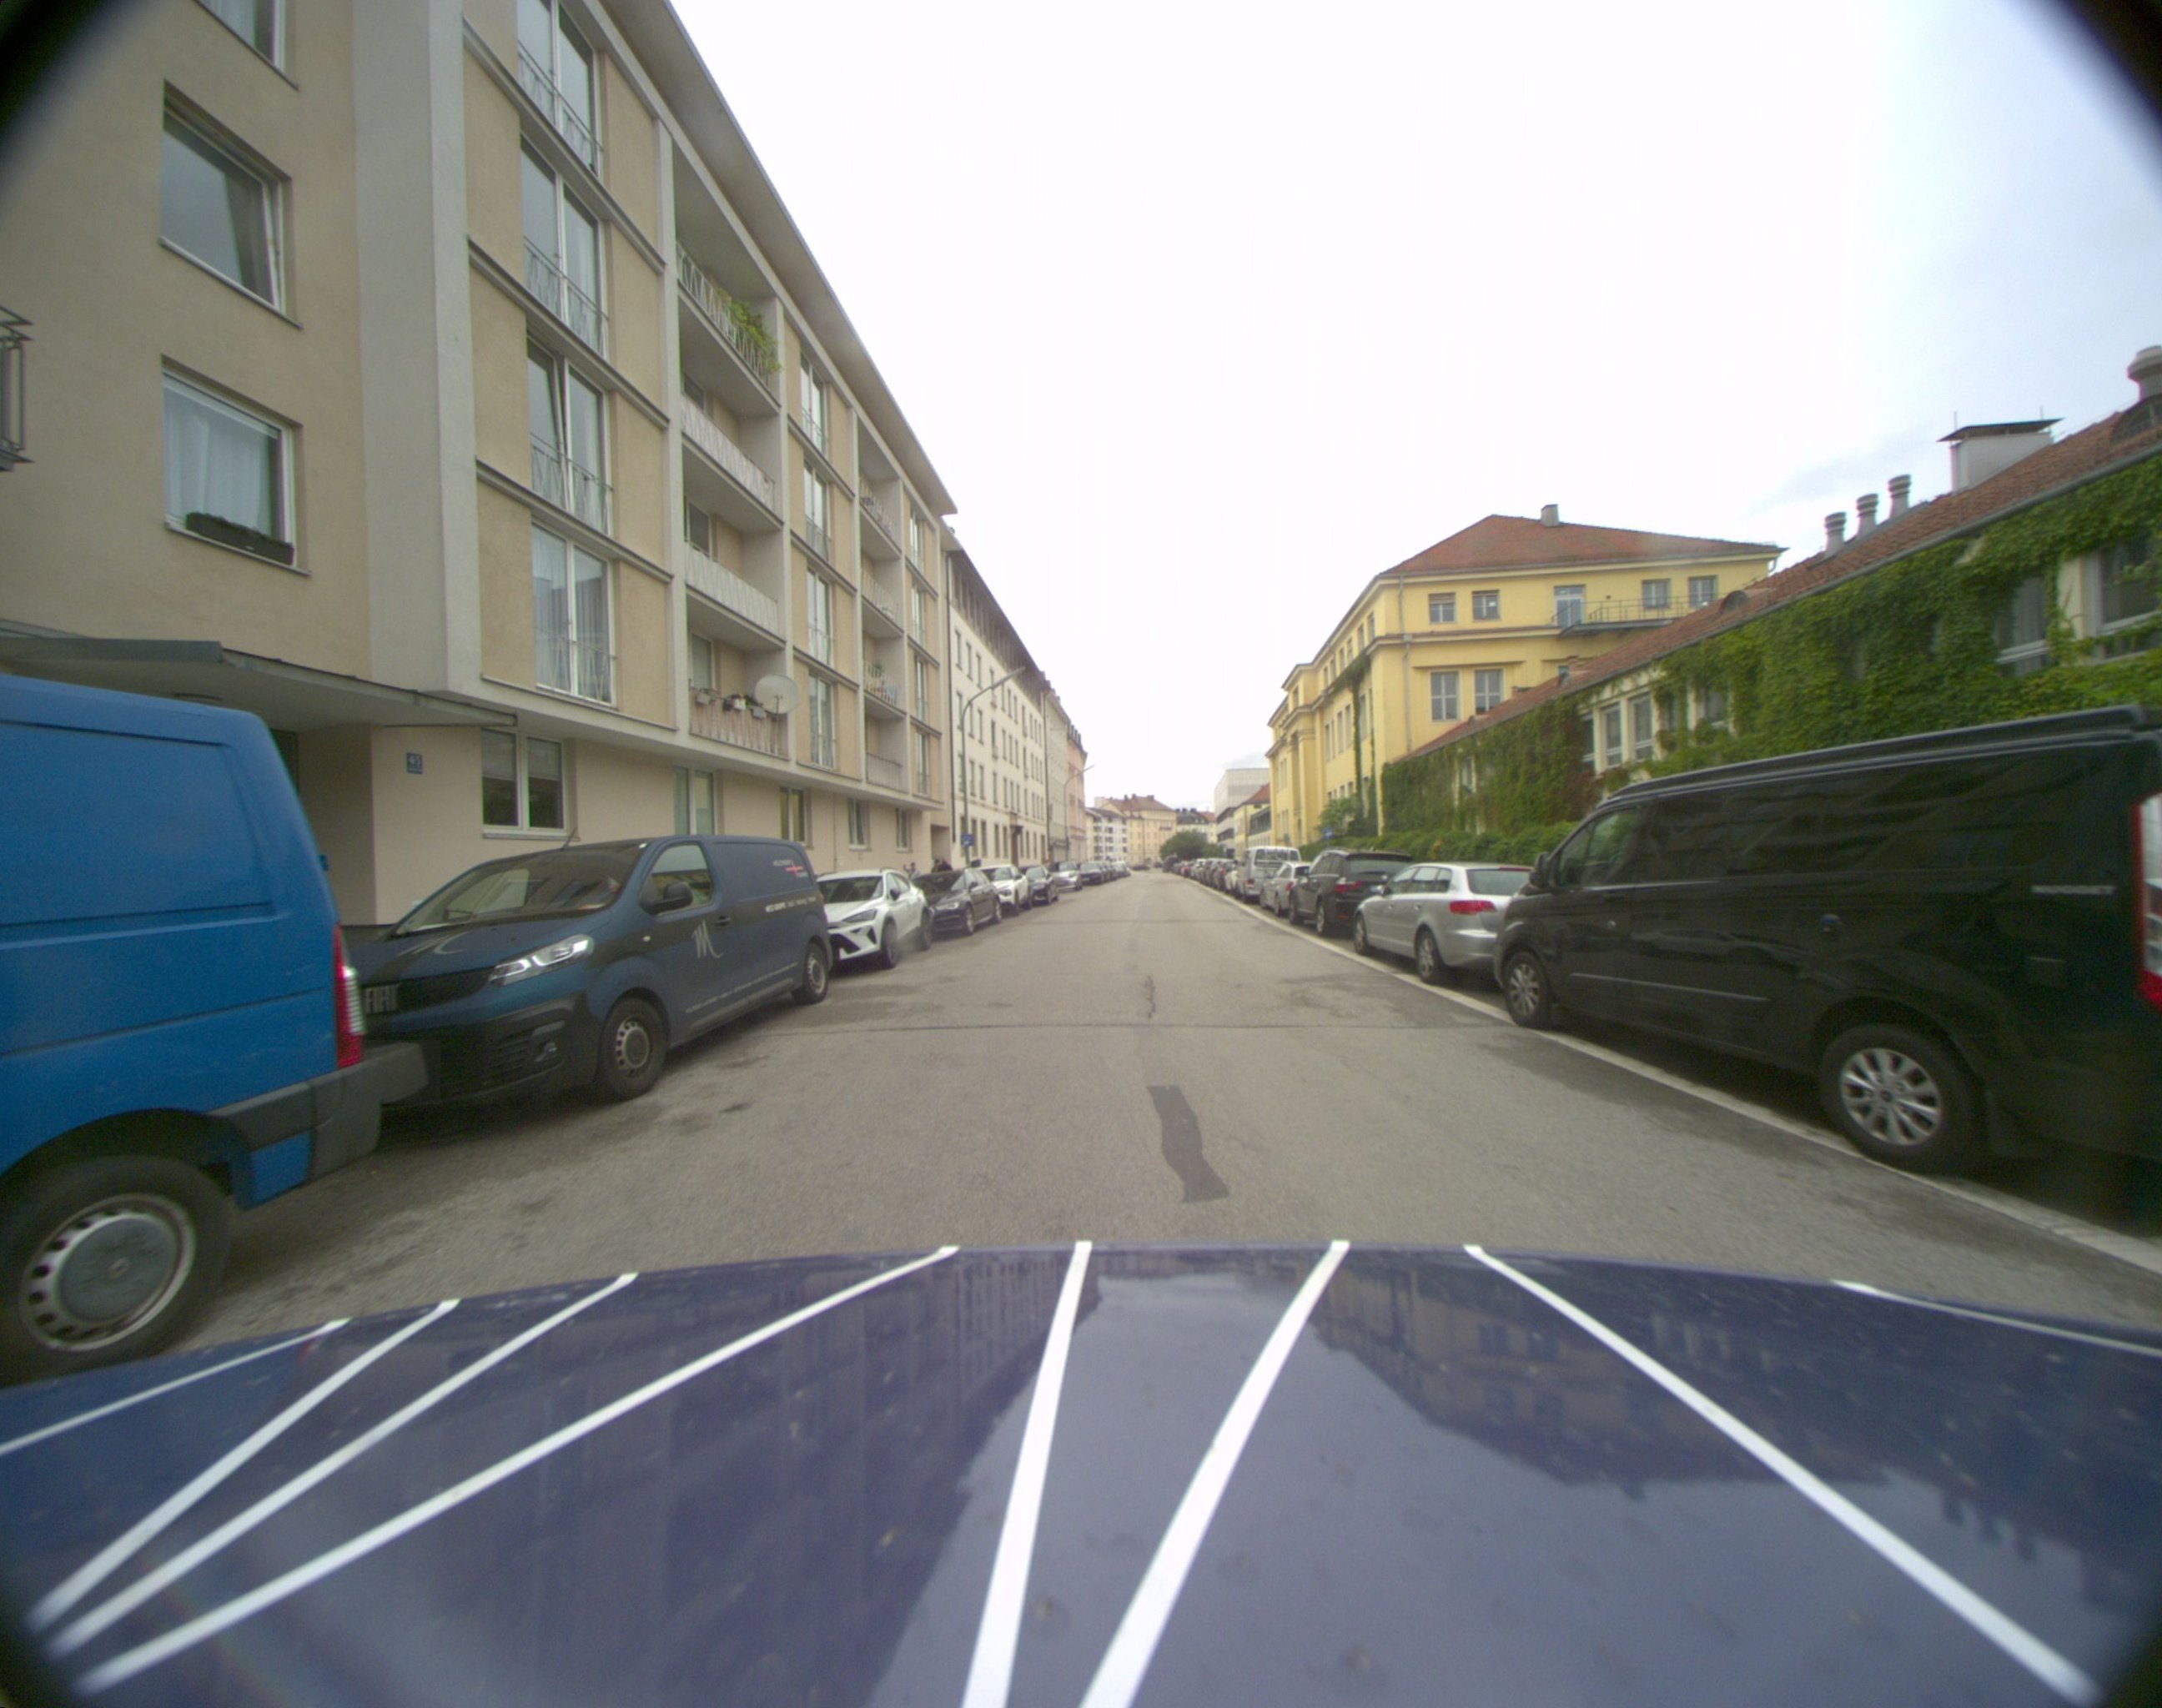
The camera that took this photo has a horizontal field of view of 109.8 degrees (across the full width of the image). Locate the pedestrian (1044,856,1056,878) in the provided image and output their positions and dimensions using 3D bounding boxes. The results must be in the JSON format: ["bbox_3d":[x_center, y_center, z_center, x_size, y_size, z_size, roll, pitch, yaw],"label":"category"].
[{"bbox_3d":[-2.299,0.935,56.185,0.735,1.616,0.828,0,0,6],"label":"pedestrian"}]

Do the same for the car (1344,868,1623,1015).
[{"bbox_3d":[4.817,0.934,9.821,1.623,1.370,4.073,2,0,4],"label":"car"}]

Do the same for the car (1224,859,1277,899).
[{"bbox_3d":[6.848,0.968,31.049,1.582,1.483,3.731,1,0,5],"label":"car"}]

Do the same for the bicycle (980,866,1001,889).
[{"bbox_3d":[-4.740,1.208,40.043,0.660,1.156,2.029,0,0,6],"label":"bicycle"}]

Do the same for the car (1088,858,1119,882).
[{"bbox_3d":[1.650,1.079,53.650,1.782,1.575,4.273,-2,0,7],"label":"car"}]

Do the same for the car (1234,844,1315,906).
[{"bbox_3d":[6.435,0.654,25.817,1.997,1.864,4.760,-2,0,7],"label":"car"}]

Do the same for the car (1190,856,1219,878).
[{"bbox_3d":[9.692,0.984,59.935,1.684,1.624,4.358,-2,0,3],"label":"car"}]

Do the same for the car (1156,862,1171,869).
[{"bbox_3d":[23.387,3.170,215.617,3.995,1.848,2.001,-1,-1,6],"label":"car"}]

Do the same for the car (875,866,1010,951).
[{"bbox_3d":[-3.011,1.135,17.549,1.742,1.490,4.497,-5,0,6],"label":"car"}]

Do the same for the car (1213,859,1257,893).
[{"bbox_3d":[7.258,0.998,36.077,1.582,1.447,3.906,-2,0,5],"label":"car"}]

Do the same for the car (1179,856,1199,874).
[{"bbox_3d":[9.912,0.988,69.949,1.683,1.487,3.987,-2,0,6],"label":"car"}]

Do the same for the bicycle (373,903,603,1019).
[{"bbox_3d":[-7.581,1.318,9.918,1.149,1.179,2.208,-2,0,4],"label":"bicycle"}]

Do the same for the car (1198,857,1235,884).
[{"bbox_3d":[8.364,0.981,47.325,1.786,1.529,4.196,-2,0,4],"label":"car"}]

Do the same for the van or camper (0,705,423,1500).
[{"bbox_3d":[-4.094,0.761,0.685,2.065,2.218,5.438,-5,0,0],"label":"van or camper"}]

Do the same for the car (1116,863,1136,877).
[{"bbox_3d":[4.679,1.693,78.737,1.695,1.442,4.087,-1,-2,8],"label":"car"}]

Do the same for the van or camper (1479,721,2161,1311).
[{"bbox_3d":[4.739,0.582,4.731,1.966,2.053,4.753,1,0,0],"label":"van or camper"}]

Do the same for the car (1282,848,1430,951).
[{"bbox_3d":[5.265,0.780,15.155,1.623,1.719,4.426,-2,0,5],"label":"car"}]

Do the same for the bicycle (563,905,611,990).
[{"bbox_3d":[-7.491,1.381,11.562,0.535,1.126,1.406,-1,0,-30],"label":"bicycle"}]

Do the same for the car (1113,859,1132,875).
[{"bbox_3d":[4.962,1.547,89.879,1.844,1.775,4.898,-4,-1,6],"label":"car"}]

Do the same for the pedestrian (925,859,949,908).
[{"bbox_3d":[-4.960,1.015,26.242,0.598,1.644,0.631,-2,0,6],"label":"pedestrian"}]

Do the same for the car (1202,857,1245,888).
[{"bbox_3d":[7.780,0.988,41.838,1.786,1.529,4.150,-2,0,4],"label":"car"}]

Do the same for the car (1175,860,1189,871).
[{"bbox_3d":[14.930,1.701,112.579,1.699,1.552,3.869,1,-1,4],"label":"car"}]

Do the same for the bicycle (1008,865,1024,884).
[{"bbox_3d":[-4.029,1.258,47.219,0.660,1.120,2.029,0,0,6],"label":"bicycle"}]

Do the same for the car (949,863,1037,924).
[{"bbox_3d":[-2.511,1.098,22.765,1.743,1.490,4.221,-4,-1,4],"label":"car"}]

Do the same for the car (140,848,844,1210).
[{"bbox_3d":[-3.944,0.947,6.547,1.969,1.805,4.936,-5,0,2],"label":"car"}]

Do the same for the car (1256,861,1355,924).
[{"bbox_3d":[5.838,0.936,20.293,1.705,1.414,4.426,-2,0,6],"label":"car"}]

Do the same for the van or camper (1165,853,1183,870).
[{"bbox_3d":[15.120,1.258,124.082,2.141,2.791,5.572,0,-1,-2],"label":"van or camper"}]

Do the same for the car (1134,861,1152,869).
[{"bbox_3d":[14.688,2.639,179.941,4.246,1.848,2.000,-1,-1,0],"label":"car"}]

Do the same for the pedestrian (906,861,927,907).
[{"bbox_3d":[-5.779,1.047,26.725,0.532,1.575,0.560,-2,0,6],"label":"pedestrian"}]

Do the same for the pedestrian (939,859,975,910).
[{"bbox_3d":[-4.181,1.017,25.738,0.900,1.678,1.320,-1,0,4],"label":"pedestrian"}]

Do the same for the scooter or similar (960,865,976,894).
[{"bbox_3d":[-5.294,1.193,35.691,0.600,1.245,1.038,0,3,-2],"label":"scooter or similar"}]

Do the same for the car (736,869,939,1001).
[{"bbox_3d":[-3.649,1.125,12.275,1.743,1.528,4.273,-6,0,0],"label":"car"}]

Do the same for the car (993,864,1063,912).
[{"bbox_3d":[-1.813,1.154,27.438,1.800,1.412,4.484,-5,-1,4],"label":"car"}]

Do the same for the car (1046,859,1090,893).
[{"bbox_3d":[-0.597,1.068,38.369,1.675,1.526,3.883,-2,0,6],"label":"car"}]

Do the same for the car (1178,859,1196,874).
[{"bbox_3d":[12.273,1.444,88.112,1.678,1.557,3.998,1,-1,4],"label":"car"}]

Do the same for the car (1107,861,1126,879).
[{"bbox_3d":[3.350,1.498,71.845,1.696,1.574,4.084,-2,0,4],"label":"car"}]

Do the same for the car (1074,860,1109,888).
[{"bbox_3d":[0.707,1.217,48.035,1.860,1.535,4.817,-2,0,5],"label":"car"}]

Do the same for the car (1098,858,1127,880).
[{"bbox_3d":[2.471,1.155,58.963,1.782,1.575,4.332,-2,0,8],"label":"car"}]

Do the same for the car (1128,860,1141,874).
[{"bbox_3d":[6.686,1.606,94.586,1.607,1.632,3.632,-2,0,4],"label":"car"}]

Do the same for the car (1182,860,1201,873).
[{"bbox_3d":[11.979,1.330,82.422,1.678,1.389,3.998,1,-1,4],"label":"car"}]
